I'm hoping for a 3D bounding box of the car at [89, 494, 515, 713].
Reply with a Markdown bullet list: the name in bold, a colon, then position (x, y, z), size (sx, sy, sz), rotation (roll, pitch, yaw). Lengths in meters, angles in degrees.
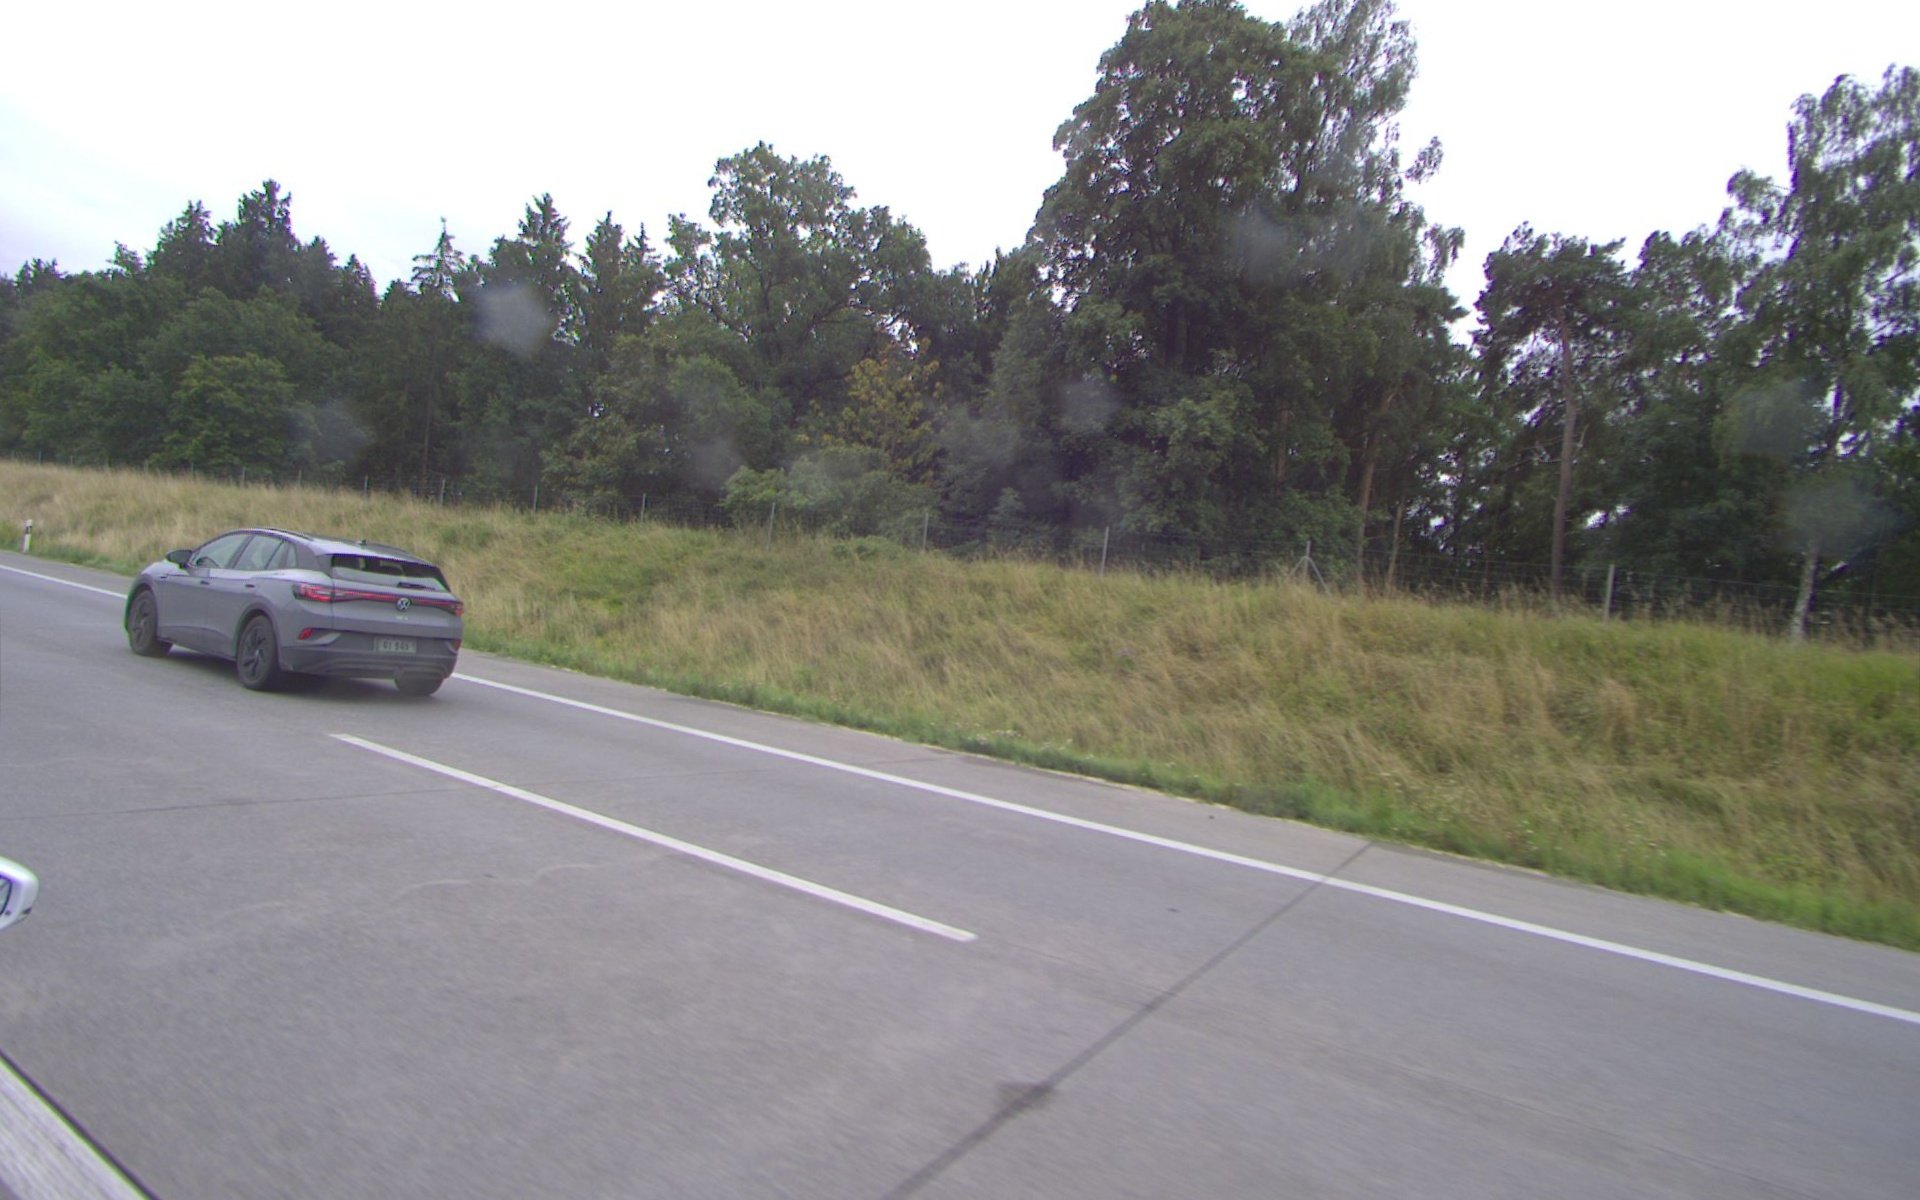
- **car**: position (-7.599, -0.019, 11.438), size (5.178, 1.709, 1.902), rotation (8, -1, 32)
